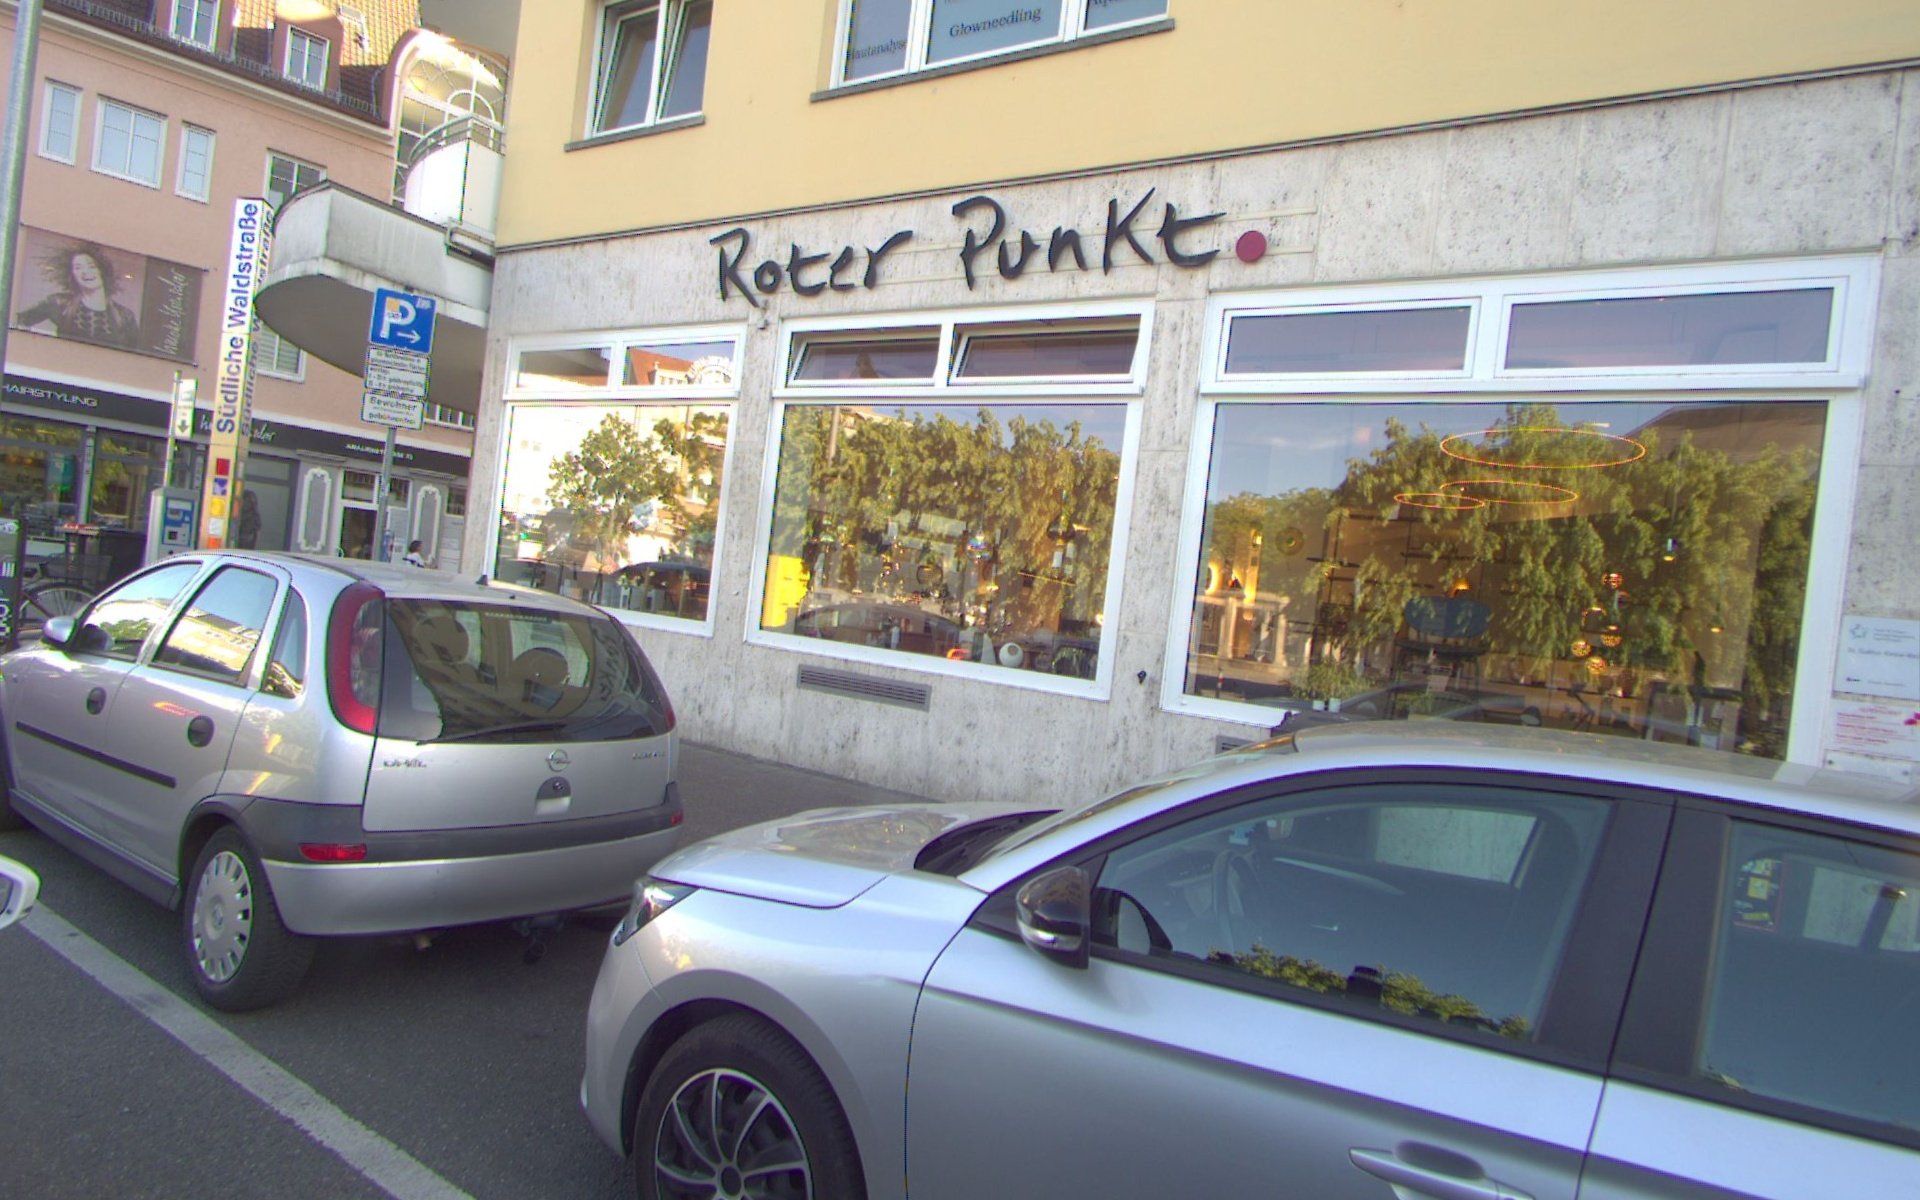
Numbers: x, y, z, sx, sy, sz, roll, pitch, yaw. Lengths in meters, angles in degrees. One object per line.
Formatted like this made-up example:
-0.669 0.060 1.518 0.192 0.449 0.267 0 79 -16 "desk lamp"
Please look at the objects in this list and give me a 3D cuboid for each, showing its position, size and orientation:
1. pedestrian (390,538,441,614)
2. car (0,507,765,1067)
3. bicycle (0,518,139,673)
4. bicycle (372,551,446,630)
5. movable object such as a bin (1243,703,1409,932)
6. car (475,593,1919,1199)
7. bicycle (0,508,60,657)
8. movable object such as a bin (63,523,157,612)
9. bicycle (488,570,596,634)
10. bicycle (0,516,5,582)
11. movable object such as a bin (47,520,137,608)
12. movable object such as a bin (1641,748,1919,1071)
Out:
-11.981 -0.527 22.123 0.743 1.571 0.692 7 0 -38 "pedestrian"
-2.807 0.495 4.398 3.583 1.397 1.616 7 -2 32 "car"
-7.980 -0.066 8.151 0.681 1.208 1.885 8 1 37 "bicycle"
-9.775 -0.192 17.805 0.656 1.213 2.187 7 -1 -39 "bicycle"
1.995 1.118 5.445 0.592 1.041 0.811 7 0 32 "movable object such as a bin"
0.905 0.939 2.232 3.642 1.415 1.653 7 -1 29 "car"
-8.984 -0.217 8.625 0.778 1.284 1.721 7 1 37 "bicycle"
-11.776 -0.447 13.951 0.617 1.105 0.754 6 -1 34 "movable object such as a bin"
-9.128 0.048 22.030 1.959 1.163 0.782 7 0 -40 "bicycle"
-10.142 -0.327 9.271 0.770 1.138 1.797 7 1 37 "bicycle"
-12.312 -0.505 14.272 0.617 1.105 0.734 6 -1 34 "movable object such as a bin"
3.586 1.268 4.388 0.879 1.066 0.751 7 0 32 "movable object such as a bin"
